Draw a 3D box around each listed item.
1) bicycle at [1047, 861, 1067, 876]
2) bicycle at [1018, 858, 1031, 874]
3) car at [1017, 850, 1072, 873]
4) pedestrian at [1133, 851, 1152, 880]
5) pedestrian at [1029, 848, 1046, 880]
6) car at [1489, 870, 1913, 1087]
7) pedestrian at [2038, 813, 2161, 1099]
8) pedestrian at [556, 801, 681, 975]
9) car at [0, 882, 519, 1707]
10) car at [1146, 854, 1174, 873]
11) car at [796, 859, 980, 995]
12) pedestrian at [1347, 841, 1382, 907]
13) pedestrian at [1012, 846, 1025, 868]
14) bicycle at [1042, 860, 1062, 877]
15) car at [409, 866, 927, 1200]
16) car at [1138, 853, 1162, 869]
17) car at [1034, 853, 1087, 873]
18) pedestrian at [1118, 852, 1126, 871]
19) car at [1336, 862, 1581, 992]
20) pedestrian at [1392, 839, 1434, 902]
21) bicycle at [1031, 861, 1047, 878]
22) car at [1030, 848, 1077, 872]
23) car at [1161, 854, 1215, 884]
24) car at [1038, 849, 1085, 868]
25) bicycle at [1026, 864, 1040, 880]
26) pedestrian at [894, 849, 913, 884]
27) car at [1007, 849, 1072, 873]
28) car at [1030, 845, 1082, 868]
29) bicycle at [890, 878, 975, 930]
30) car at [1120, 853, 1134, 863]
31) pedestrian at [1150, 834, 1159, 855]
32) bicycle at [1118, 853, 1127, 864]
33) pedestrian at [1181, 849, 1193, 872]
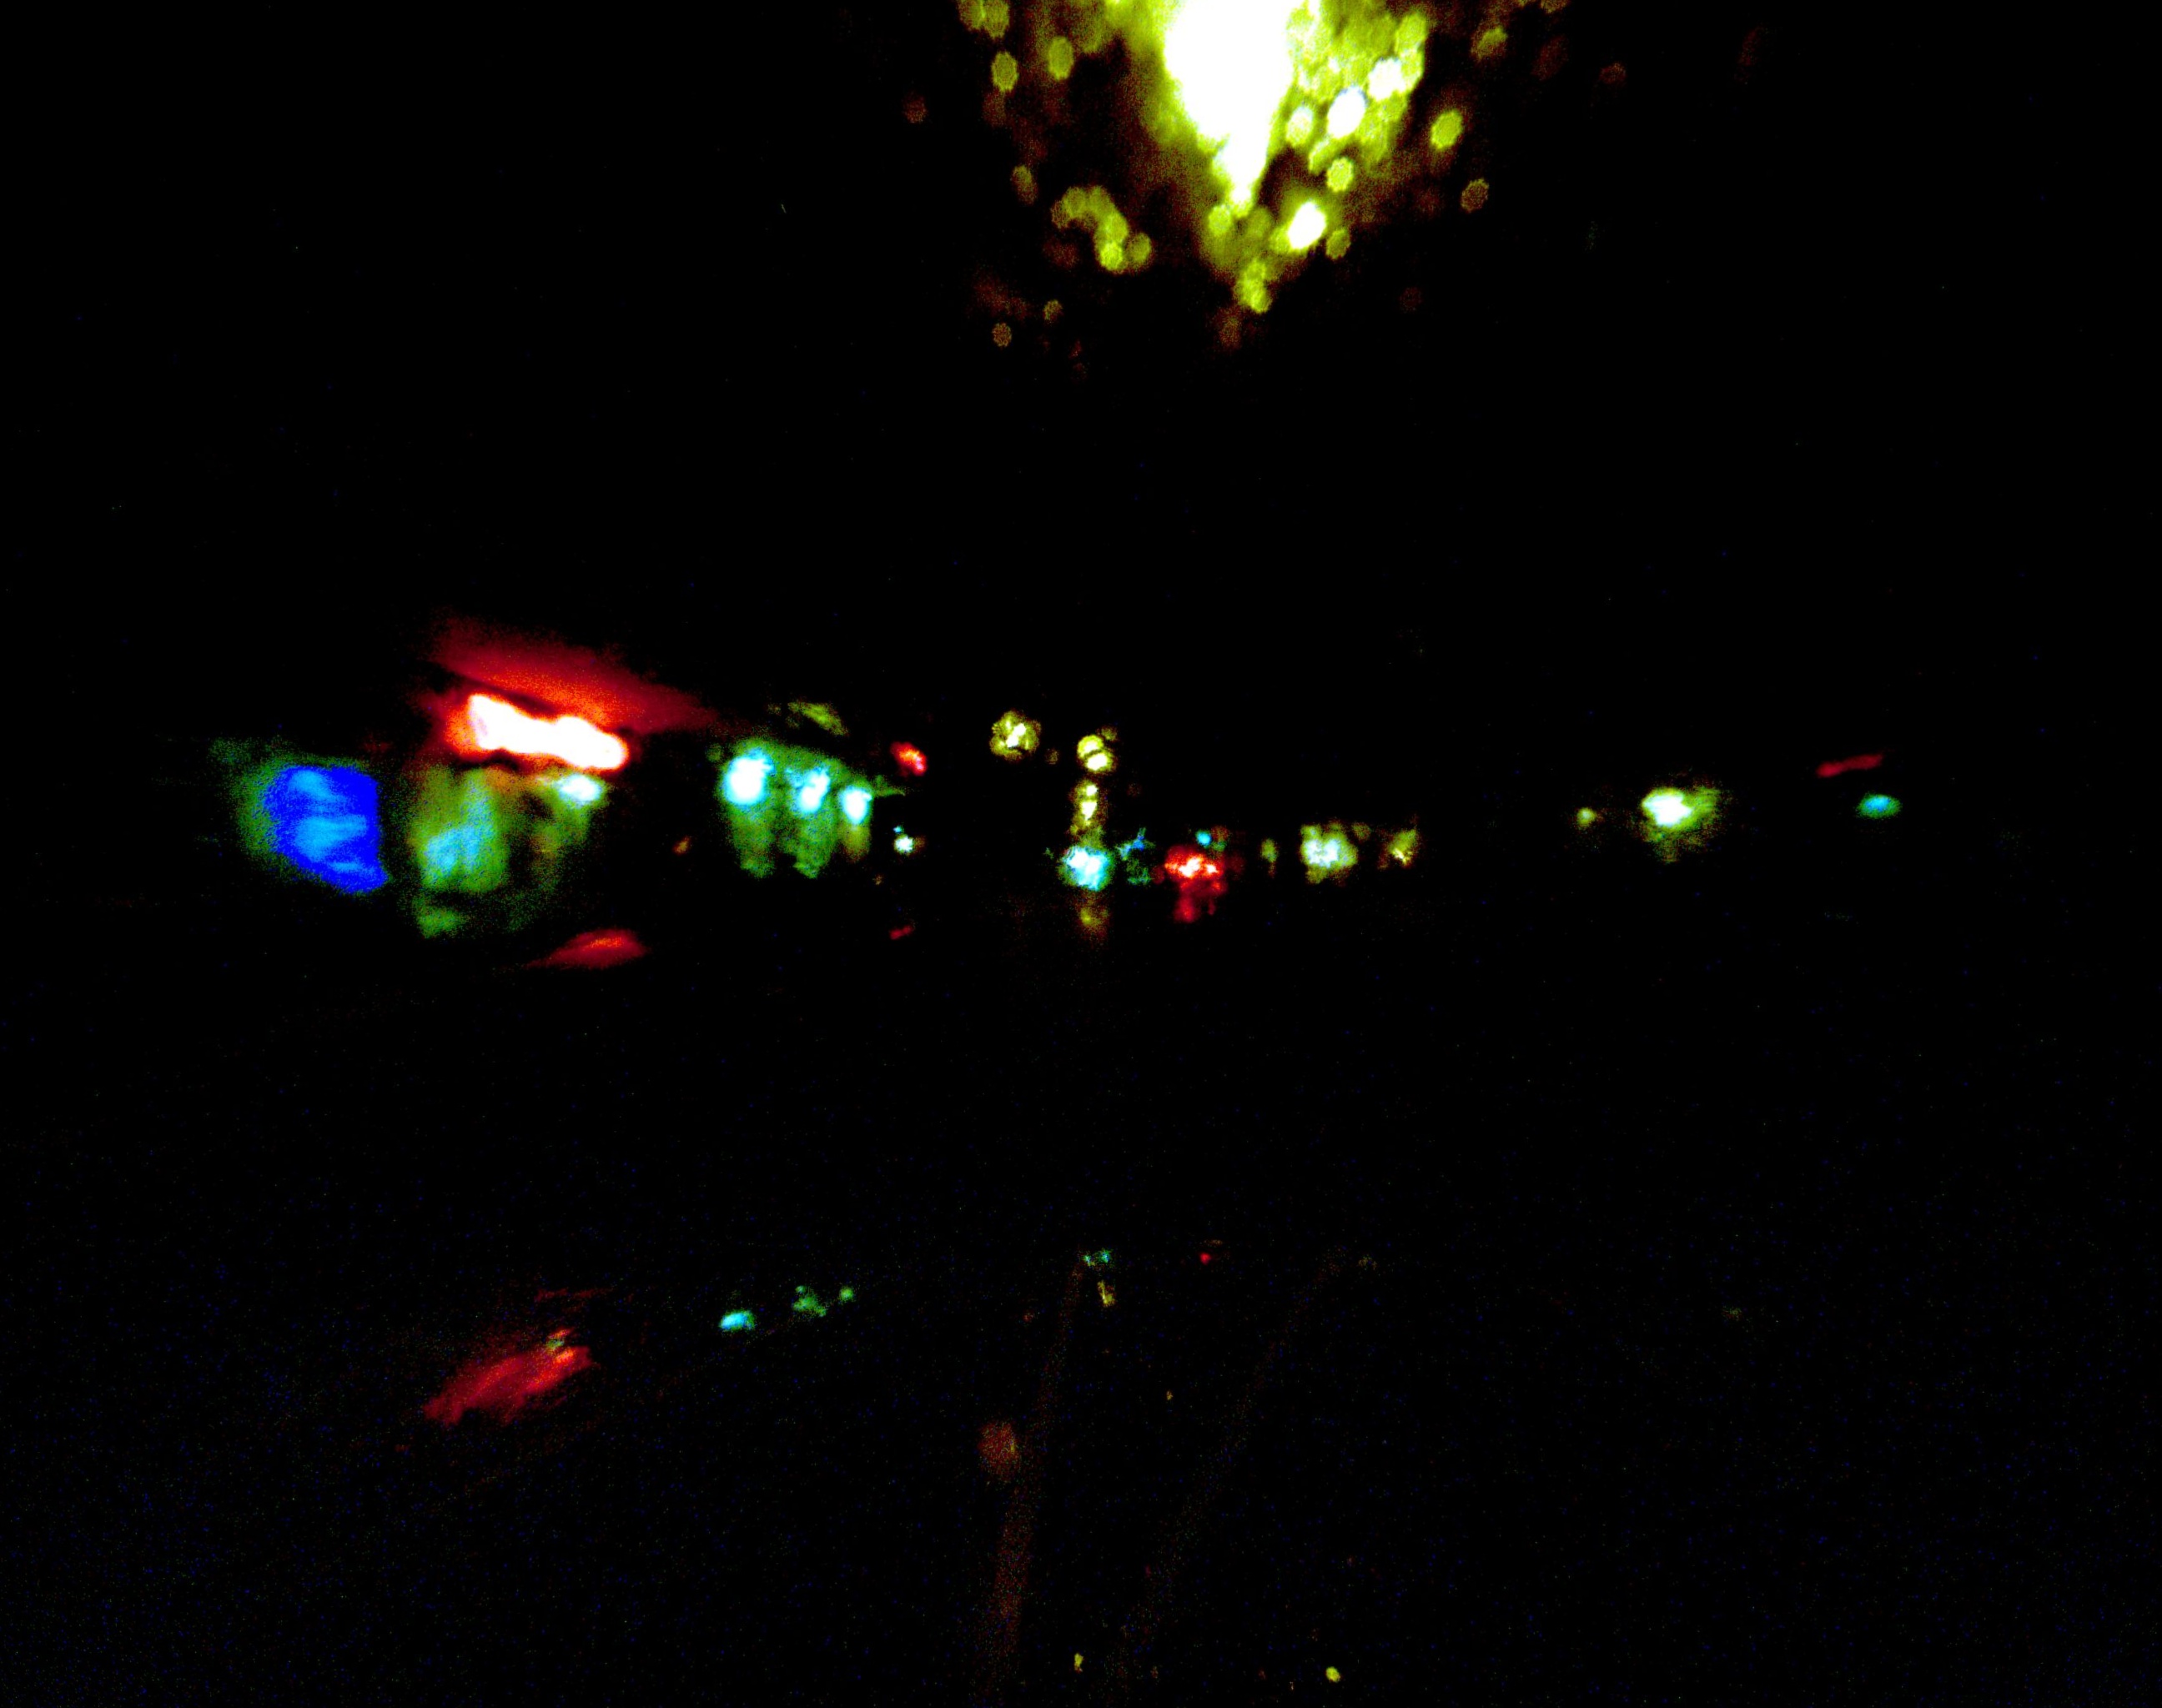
[{"bbox_3d":[-1.684,1.001,52.809,1.641,1.020,0.337,0,-1,44],"label":"bicycle"},{"bbox_3d":[-3.853,0.793,51.673,0.336,1.020,1.642,1,1,-26],"label":"bicycle"},{"bbox_3d":[-2.786,0.579,57.897,3.747,1.702,1.767,2,0,-34],"label":"car"},{"bbox_3d":[3.948,0.740,48.822,0.876,1.823,0.986,1,1,36],"label":"pedestrian"},{"bbox_3d":[-2.560,0.553,44.606,0.958,1.852,1.415,0,0,-1],"label":"pedestrian"},{"bbox_3d":[5.239,0.932,6.894,1.590,1.501,2.787,-1,0,1],"label":"car"},{"bbox_3d":[7.537,0.666,5.043,1.034,1.854,0.977,1,2,1],"label":"pedestrian"},{"bbox_3d":[-6.138,0.427,10.141,1.056,2.196,0.970,1,1,0],"label":"pedestrian"},{"bbox_3d":[-2.760,0.945,0.524,1.757,1.599,3.988,-1,1,-1],"label":"car"},{"bbox_3d":[6.401,0.752,61.935,1.851,1.470,5.030,-1,0,1],"label":"car"},{"bbox_3d":[-2.677,0.925,11.536,1.757,1.557,4.153,-1,1,-1],"label":"car"},{"bbox_3d":[8.276,0.567,22.235,0.797,1.847,0.947,2,1,13],"label":"pedestrian"},{"bbox_3d":[-5.226,0.240,63.787,0.789,1.807,0.812,1,2,25],"label":"pedestrian"},{"bbox_3d":[-2.024,0.995,52.479,0.337,1.020,1.641,1,2,-44],"label":"bicycle"},{"bbox_3d":[-2.547,0.954,6.088,1.757,1.529,4.397,-1,1,-1],"label":"car"},{"bbox_3d":[6.530,0.677,72.519,1.721,1.470,4.158,-1,0,-3],"label":"car"},{"bbox_3d":[-1.738,0.748,63.733,4.080,1.588,1.829,2,0,-34],"label":"car"},{"bbox_3d":[3.983,0.759,73.698,0.714,1.801,1.125,0,0,-3],"label":"pedestrian"},{"bbox_3d":[5.244,0.904,11.205,1.590,1.455,4.024,-3,0,1],"label":"car"},{"bbox_3d":[9.548,0.461,21.906,0.805,1.756,1.016,-2,1,6],"label":"pedestrian"},{"bbox_3d":[-2.904,1.045,52.383,0.336,1.021,1.641,-1,4,-29],"label":"bicycle"},{"bbox_3d":[-2.378,0.540,66.418,3.747,2.017,1.717,2,0,-35],"label":"car"},{"bbox_3d":[5.499,0.732,39.537,1.568,1.419,4.065,1,1,-10],"label":"car"},{"bbox_3d":[-2.092,0.529,83.180,4.720,1.968,1.974,2,0,-29],"label":"car"},{"bbox_3d":[-3.292,1.216,52.030,0.336,1.086,1.643,1,-1,-26],"label":"bicycle"},{"bbox_3d":[-9.468,0.665,40.571,0.676,1.822,1.078,-1,1,2],"label":"pedestrian"},{"bbox_3d":[-2.988,0.502,54.887,4.270,1.564,1.767,2,0,-28],"label":"car"},{"bbox_3d":[-1.964,0.190,60.901,3.801,1.702,1.744,2,0,-34],"label":"car"},{"bbox_3d":[-3.259,1.096,16.743,1.788,1.118,0.435,1,0,-2],"label":"bicycle"},{"bbox_3d":[6.660,0.566,110.979,1.851,1.470,3.735,-1,0,0],"label":"car"},{"bbox_3d":[7.887,-1.033,81.443,0.801,2.228,1.116,0,1,-1],"label":"pedestrian"},{"bbox_3d":[3.979,0.440,73.711,0.714,1.053,1.801,0,0,-2],"label":"bicycle"},{"bbox_3d":[8.293,0.475,59.417,0.827,1.761,0.600,-1,1,12],"label":"pedestrian"}]
